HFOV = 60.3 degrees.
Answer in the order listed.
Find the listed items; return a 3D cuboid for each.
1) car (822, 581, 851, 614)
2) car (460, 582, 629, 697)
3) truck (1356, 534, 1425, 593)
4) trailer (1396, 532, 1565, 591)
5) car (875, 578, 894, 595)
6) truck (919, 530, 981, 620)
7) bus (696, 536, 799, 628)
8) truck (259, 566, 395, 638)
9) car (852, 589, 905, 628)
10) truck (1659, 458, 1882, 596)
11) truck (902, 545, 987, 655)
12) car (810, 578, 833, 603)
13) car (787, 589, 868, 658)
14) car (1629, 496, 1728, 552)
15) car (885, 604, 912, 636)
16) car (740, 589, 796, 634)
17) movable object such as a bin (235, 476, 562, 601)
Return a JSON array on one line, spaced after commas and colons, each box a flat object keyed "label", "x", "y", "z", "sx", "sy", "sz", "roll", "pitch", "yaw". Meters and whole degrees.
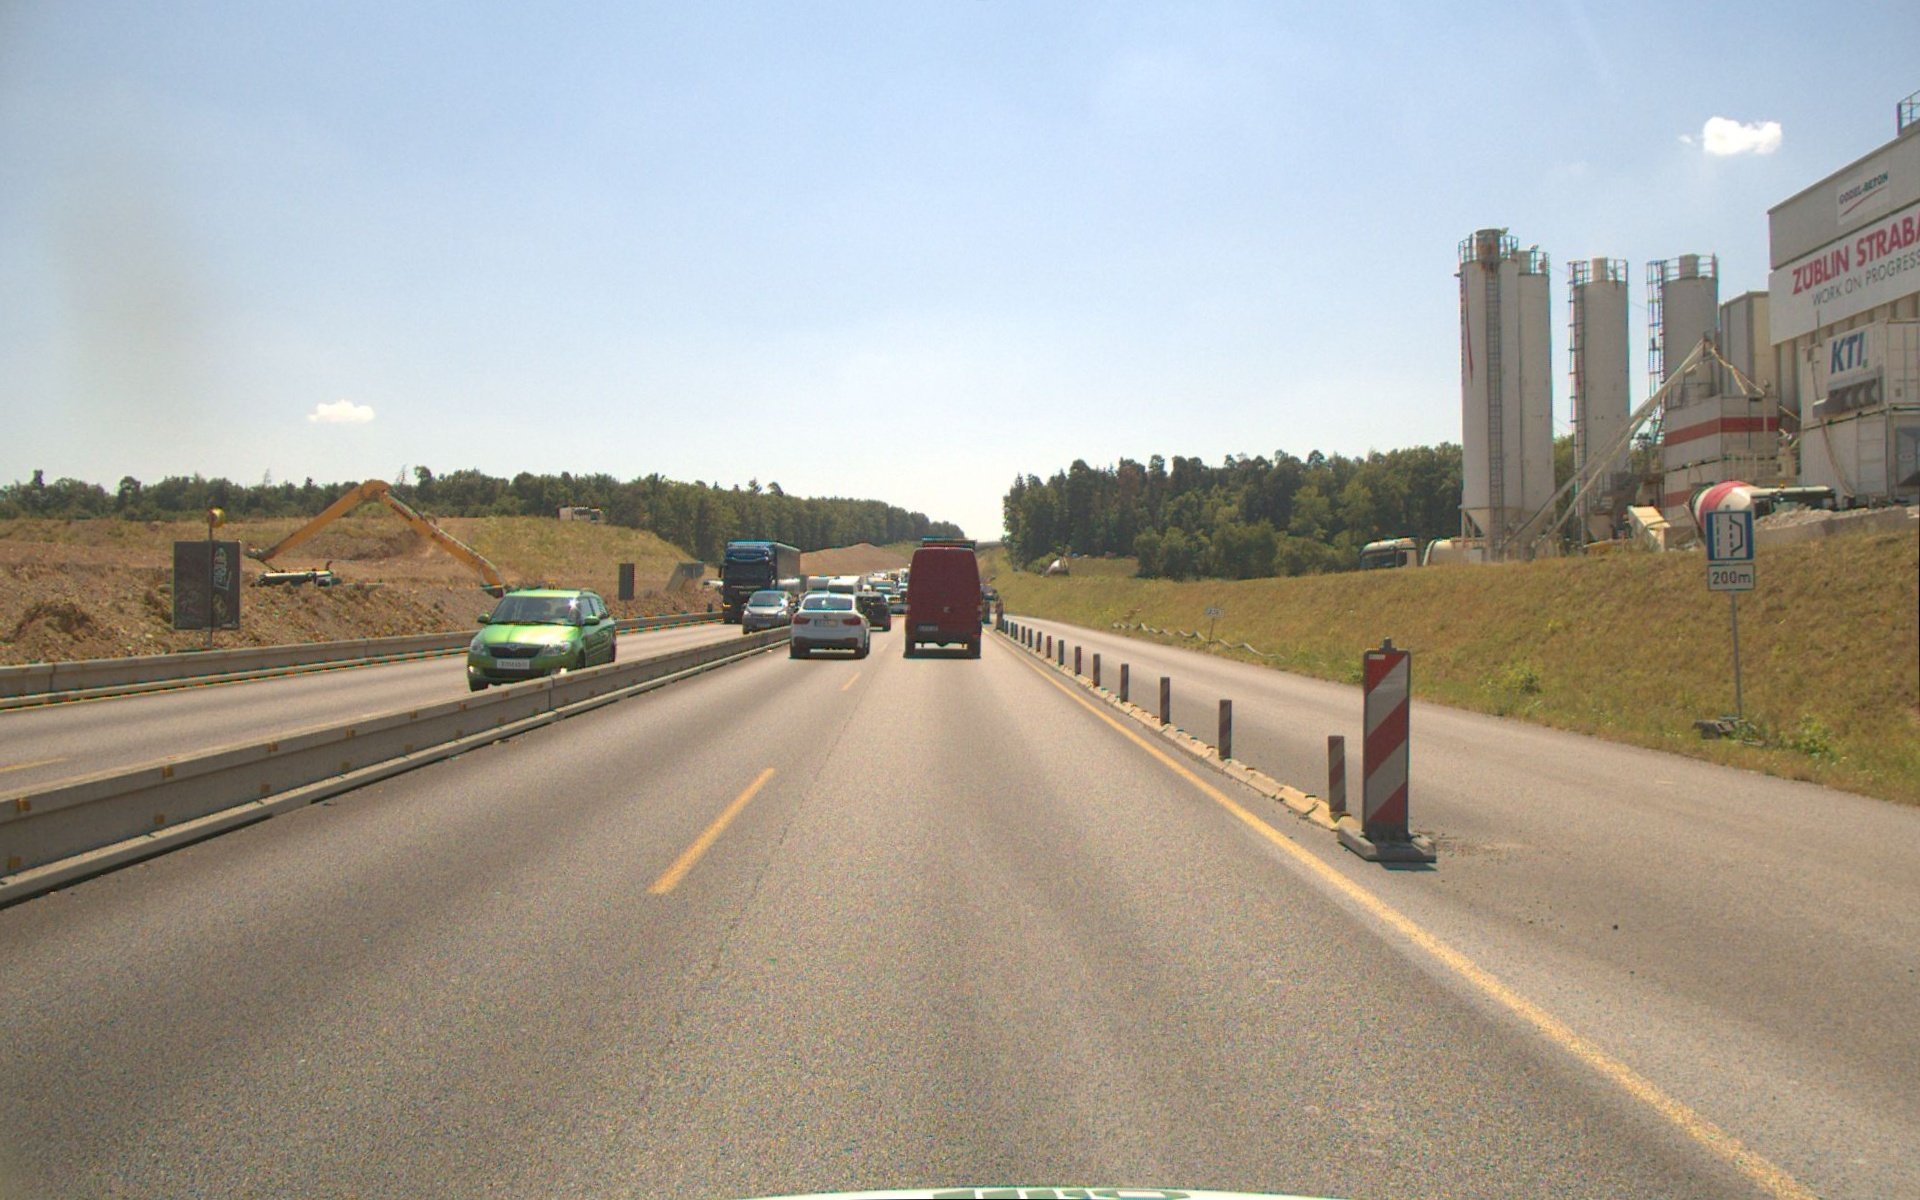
[{"label": "car", "x": -8.147, "y": -0.173, "z": 109.234, "sx": 1.821, "sy": 2.192, "sz": 3.623, "roll": 0, "pitch": 0, "yaw": -3}, {"label": "car", "x": -6.245, "y": 0.546, "z": 25.286, "sx": 1.570, "sy": 1.607, "sz": 4.167, "roll": 0, "pitch": 0, "yaw": -1}, {"label": "truck", "x": 24.141, "y": -2.002, "z": 92.537, "sx": 2.837, "sy": 3.167, "sz": 6.010, "roll": 0, "pitch": 0, "yaw": 23}, {"label": "trailer", "x": 29.658, "y": -2.157, "z": 94.337, "sx": 8.848, "sy": 3.285, "sz": 3.317, "roll": 0, "pitch": 0, "yaw": -16}, {"label": "car", "x": -8.585, "y": -1.527, "z": 188.006, "sx": 1.953, "sy": 1.937, "sz": 3.999, "roll": 0, "pitch": 0, "yaw": -1}, {"label": "truck", "x": -0.495, "y": -1.216, "z": 82.926, "sx": 2.954, "sy": 4.225, "sz": 8.272, "roll": 0, "pitch": 0, "yaw": 0}, {"label": "bus", "x": -11.334, "y": -0.940, "z": 90.265, "sx": 3.863, "sy": 4.492, "sz": 17.195, "roll": 0, "pitch": 0, "yaw": -2}, {"label": "truck", "x": -24.898, "y": 0.056, "z": 65.502, "sx": 2.268, "sy": 2.663, "sz": 8.409, "roll": 0, "pitch": 0, "yaw": -1}, {"label": "car", "x": -3.374, "y": 0.327, "z": 69.214, "sx": 1.757, "sy": 1.561, "sz": 3.933, "roll": 0, "pitch": 0, "yaw": 4}, {"label": "truck", "x": 27.916, "y": -2.346, "z": 57.661, "sx": 3.363, "sy": 4.371, "sz": 9.931, "roll": 0, "pitch": 0, "yaw": 3}, {"label": "truck", "x": -0.357, "y": -0.025, "z": 43.799, "sx": 2.068, "sy": 2.679, "sz": 6.484, "roll": 0, "pitch": 0, "yaw": 0}, {"label": "car", "x": -11.646, "y": -0.799, "z": 139.236, "sx": 1.727, "sy": 2.049, "sz": 3.826, "roll": 0, "pitch": 0, "yaw": -1}, {"label": "car", "x": -3.209, "y": 0.536, "z": 40.829, "sx": 1.759, "sy": 1.561, "sz": 5.071, "roll": 1, "pitch": 0, "yaw": -2}, {"label": "car", "x": 28.483, "y": -2.973, "z": 65.737, "sx": 1.953, "sy": 2.049, "sz": 4.427, "roll": 0, "pitch": 0, "yaw": -1}, {"label": "car", "x": -4.104, "y": 1.318, "z": 111.136, "sx": 1.727, "sy": 2.049, "sz": 3.826, "roll": 0, "pitch": 0, "yaw": -1}, {"label": "car", "x": -7.017, "y": 0.397, "z": 60.799, "sx": 1.618, "sy": 1.585, "sz": 4.095, "roll": 0, "pitch": 0, "yaw": -1}, {"label": "movable object such as a bin", "x": -33.732, "y": -3.678, "z": 100.055, "sx": 18.337, "sy": 7.357, "sz": 3.614, "roll": 0, "pitch": 0, "yaw": -3}]
